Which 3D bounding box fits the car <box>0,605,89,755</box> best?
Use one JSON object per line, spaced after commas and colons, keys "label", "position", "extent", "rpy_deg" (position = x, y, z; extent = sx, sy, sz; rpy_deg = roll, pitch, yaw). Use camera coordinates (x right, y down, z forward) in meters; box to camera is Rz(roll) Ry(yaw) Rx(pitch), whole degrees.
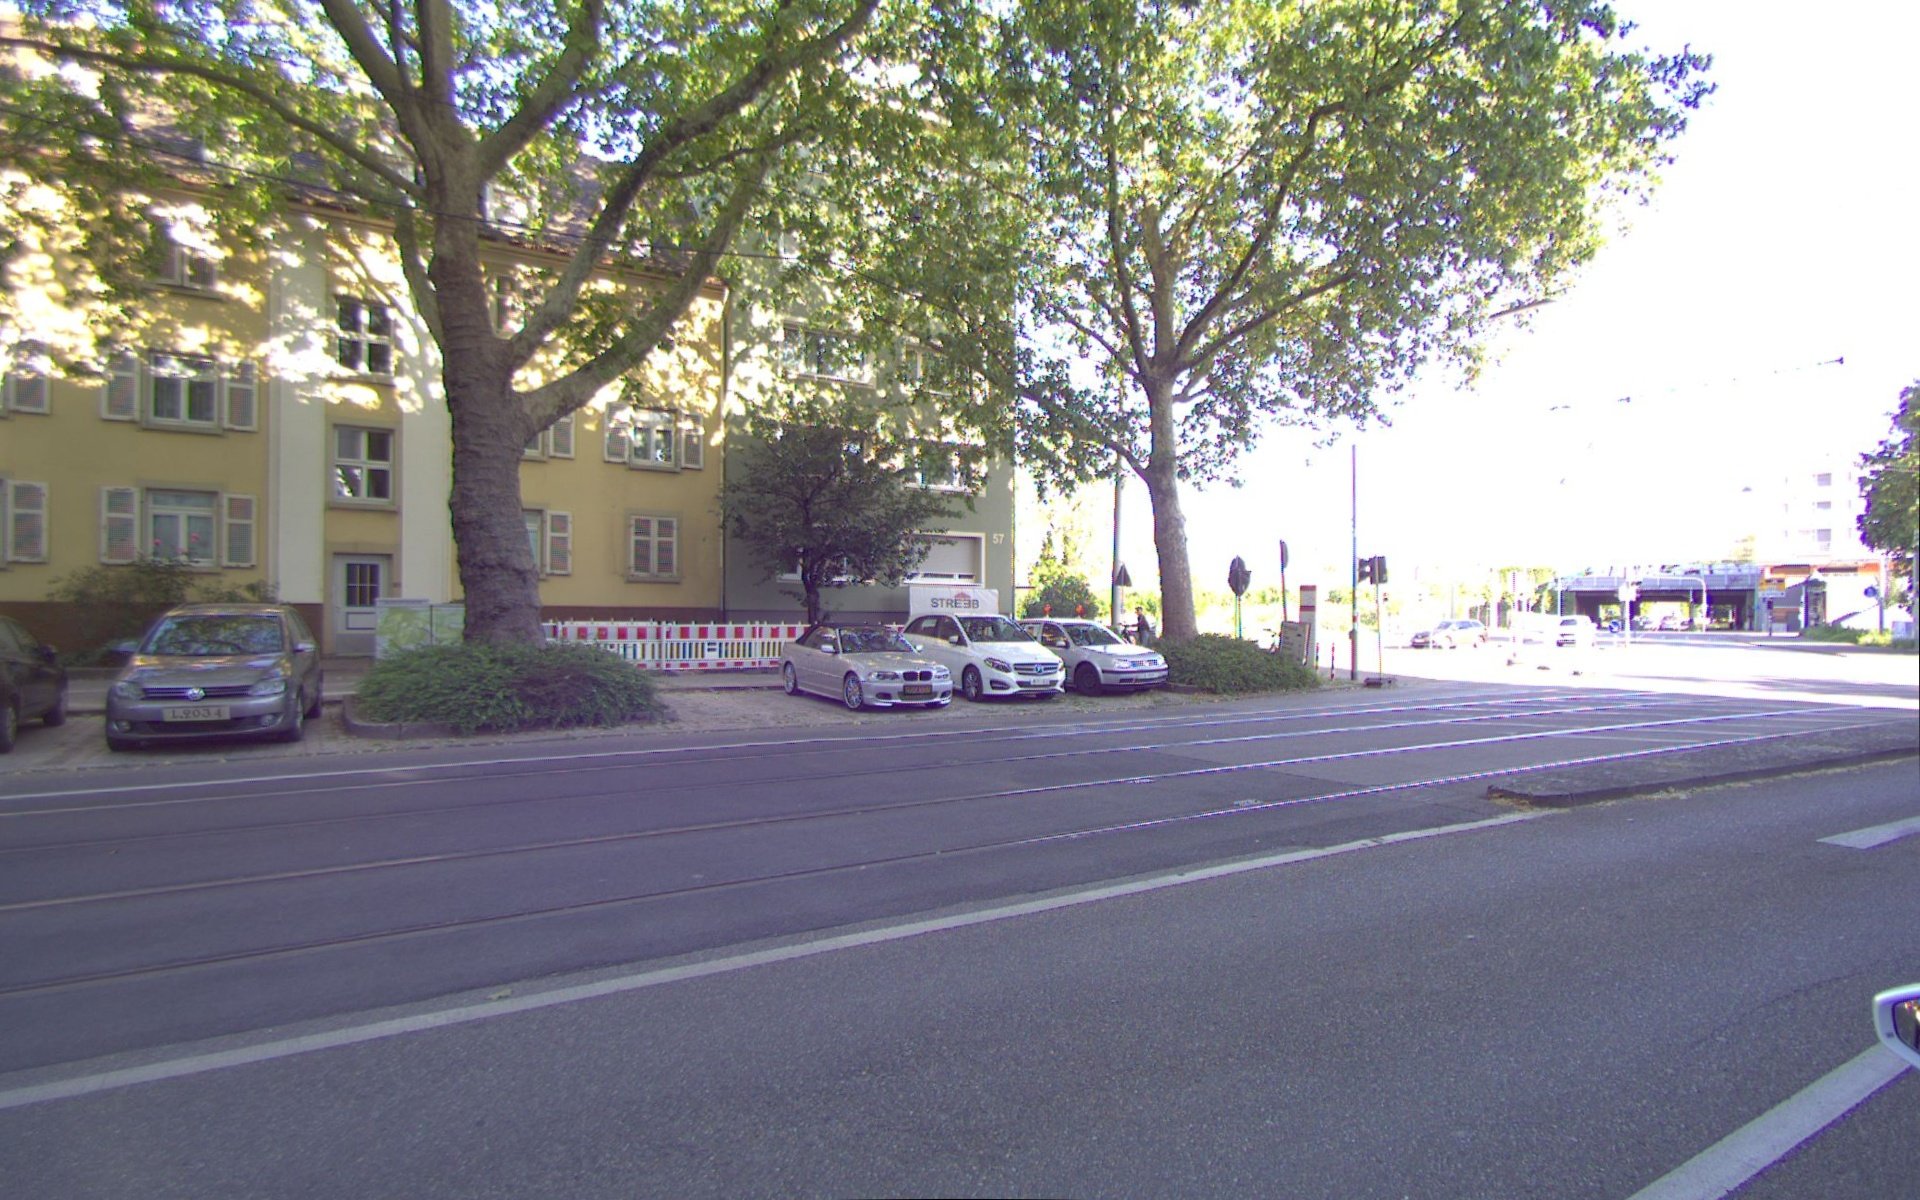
{"label": "car", "position": [-11.459, 0.837, 11.391], "extent": [1.652, 1.518, 3.778], "rpy_deg": [1, 0, -29]}

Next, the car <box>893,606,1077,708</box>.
{"label": "car", "position": [0.356, 0.987, 19.161], "extent": [1.651, 1.669, 3.949], "rpy_deg": [1, 0, -31]}

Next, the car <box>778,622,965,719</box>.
{"label": "car", "position": [-1.644, 1.113, 17.316], "extent": [1.651, 1.370, 3.949], "rpy_deg": [1, 0, -31]}

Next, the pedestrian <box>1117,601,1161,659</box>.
{"label": "pedestrian", "position": [5.264, 0.893, 29.630], "extent": [0.919, 1.669, 0.841], "rpy_deg": [2, 0, -30]}

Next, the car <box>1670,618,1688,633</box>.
{"label": "car", "position": [84.240, 3.013, 117.690], "extent": [1.731, 1.706, 3.729], "rpy_deg": [2, 0, 36]}

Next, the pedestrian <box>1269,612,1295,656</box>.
{"label": "pedestrian", "position": [12.534, 1.322, 39.070], "extent": [0.760, 1.683, 0.954], "rpy_deg": [2, 0, 29]}

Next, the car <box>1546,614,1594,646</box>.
{"label": "car", "position": [33.542, 1.634, 55.198], "extent": [1.860, 1.606, 3.823], "rpy_deg": [2, 0, 37]}

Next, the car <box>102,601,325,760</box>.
{"label": "car", "position": [-8.993, 0.836, 12.422], "extent": [1.652, 1.602, 3.953], "rpy_deg": [1, 0, -29]}

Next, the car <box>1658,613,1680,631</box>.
{"label": "car", "position": [78.673, 2.433, 111.463], "extent": [1.884, 1.906, 4.828], "rpy_deg": [0, -1, 36]}

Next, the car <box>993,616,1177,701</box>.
{"label": "car", "position": [2.447, 1.114, 20.535], "extent": [1.651, 1.473, 3.949], "rpy_deg": [1, 0, -31]}

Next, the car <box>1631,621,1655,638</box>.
{"label": "car", "position": [68.530, 2.919, 100.755], "extent": [1.860, 1.606, 3.823], "rpy_deg": [2, 0, 37]}

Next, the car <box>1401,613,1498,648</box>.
{"label": "car", "position": [24.581, 1.533, 50.499], "extent": [4.284, 1.684, 1.798], "rpy_deg": [1, -1, -16]}
